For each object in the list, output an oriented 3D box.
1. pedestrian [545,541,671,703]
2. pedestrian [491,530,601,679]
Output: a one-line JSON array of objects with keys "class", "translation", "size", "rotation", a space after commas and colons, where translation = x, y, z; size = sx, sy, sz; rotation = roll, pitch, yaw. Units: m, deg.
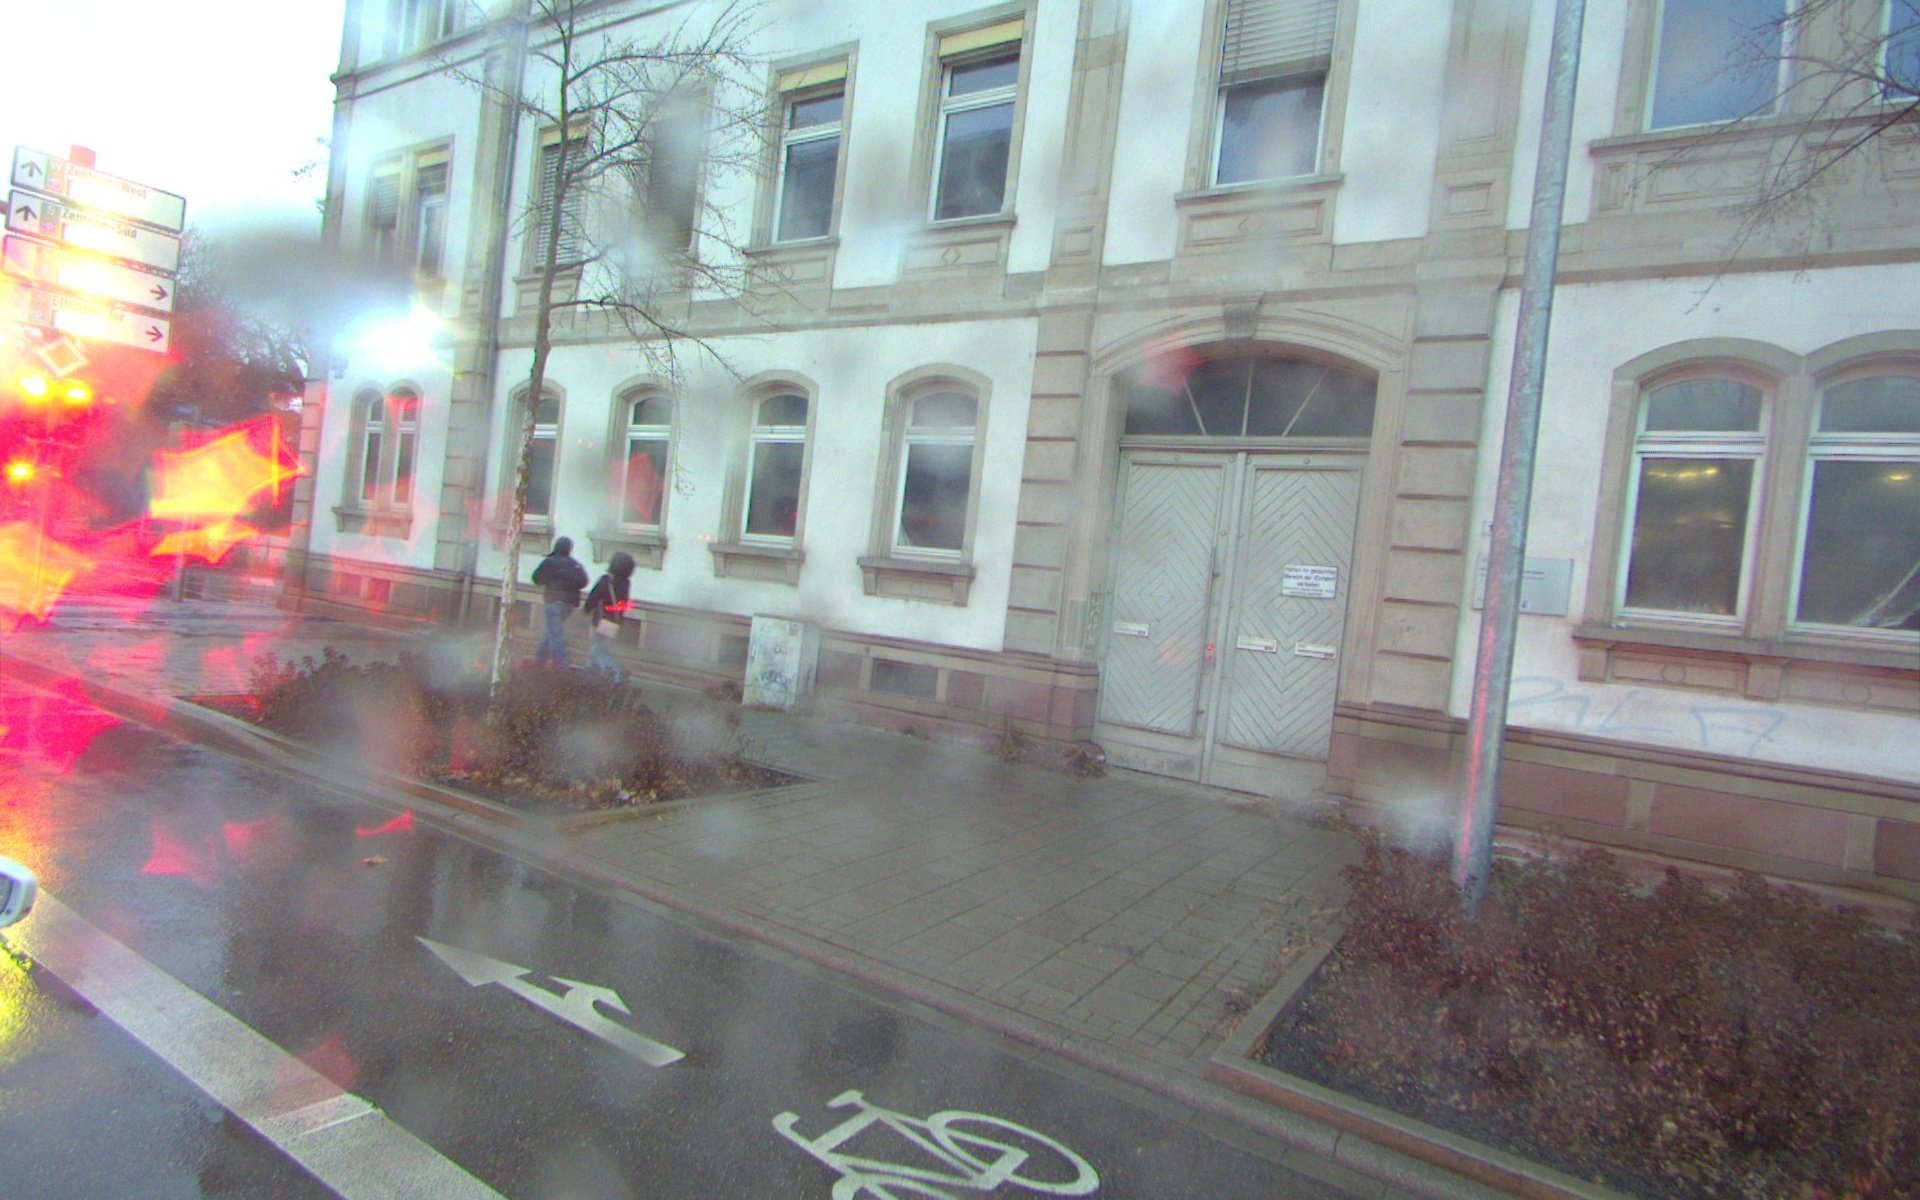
[{"class": "pedestrian", "translation": [-3.798, 0.224, 10.837], "size": [0.779, 1.597, 0.999], "rotation": [8, -1, -43]}, {"class": "pedestrian", "translation": [-5.031, 0.067, 12.296], "size": [0.770, 1.651, 1.011], "rotation": [7, -1, -3]}]
